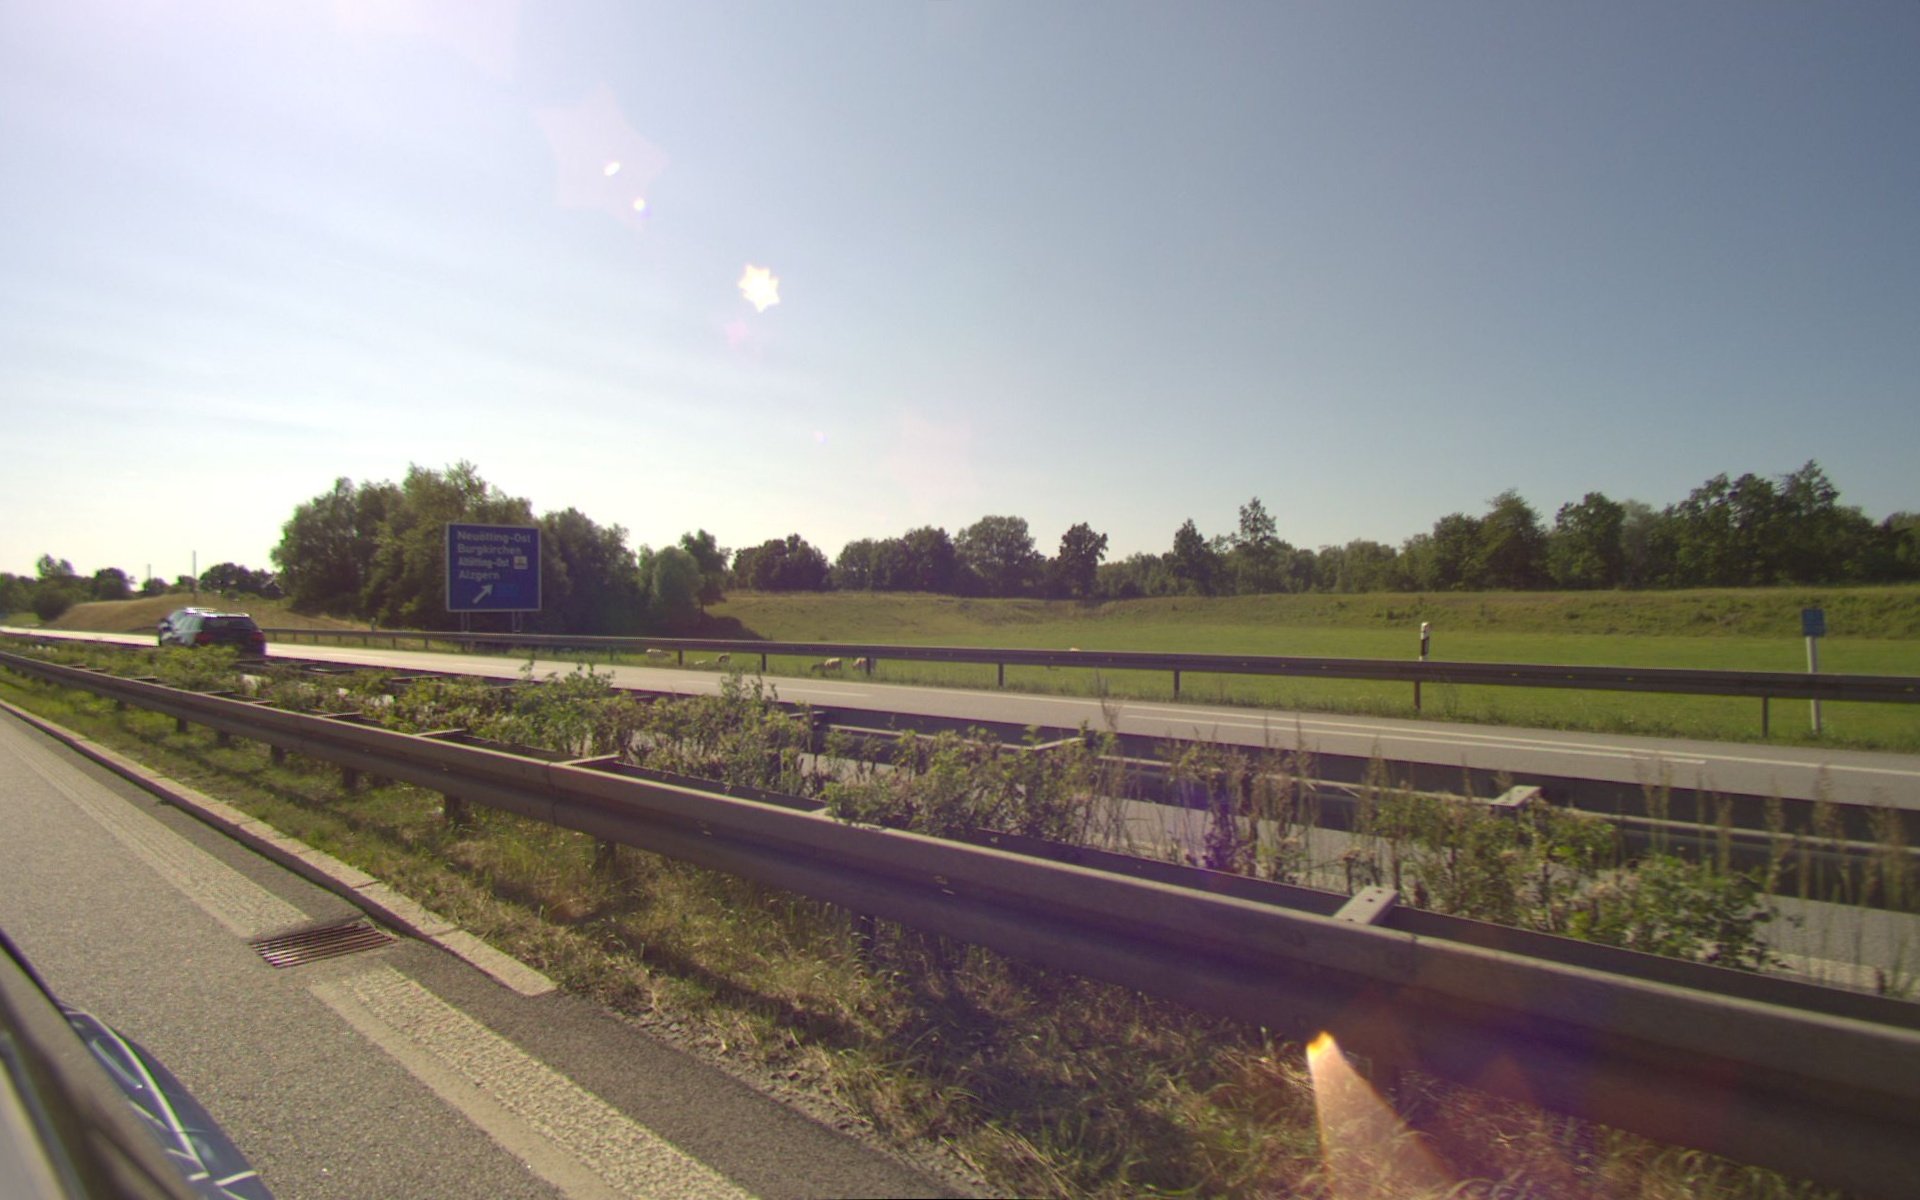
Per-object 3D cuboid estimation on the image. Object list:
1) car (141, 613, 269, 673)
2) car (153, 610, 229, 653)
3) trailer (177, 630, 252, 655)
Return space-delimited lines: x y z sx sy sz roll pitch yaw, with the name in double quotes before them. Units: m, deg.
"car" -20.076 1.114 26.831 4.923 1.470 1.663 -1 -4 41
"car" -34.200 1.389 44.949 4.869 1.817 1.830 -2 -2 42
"trailer" -30.894 1.744 41.920 4.019 0.943 1.723 -1 -2 42
